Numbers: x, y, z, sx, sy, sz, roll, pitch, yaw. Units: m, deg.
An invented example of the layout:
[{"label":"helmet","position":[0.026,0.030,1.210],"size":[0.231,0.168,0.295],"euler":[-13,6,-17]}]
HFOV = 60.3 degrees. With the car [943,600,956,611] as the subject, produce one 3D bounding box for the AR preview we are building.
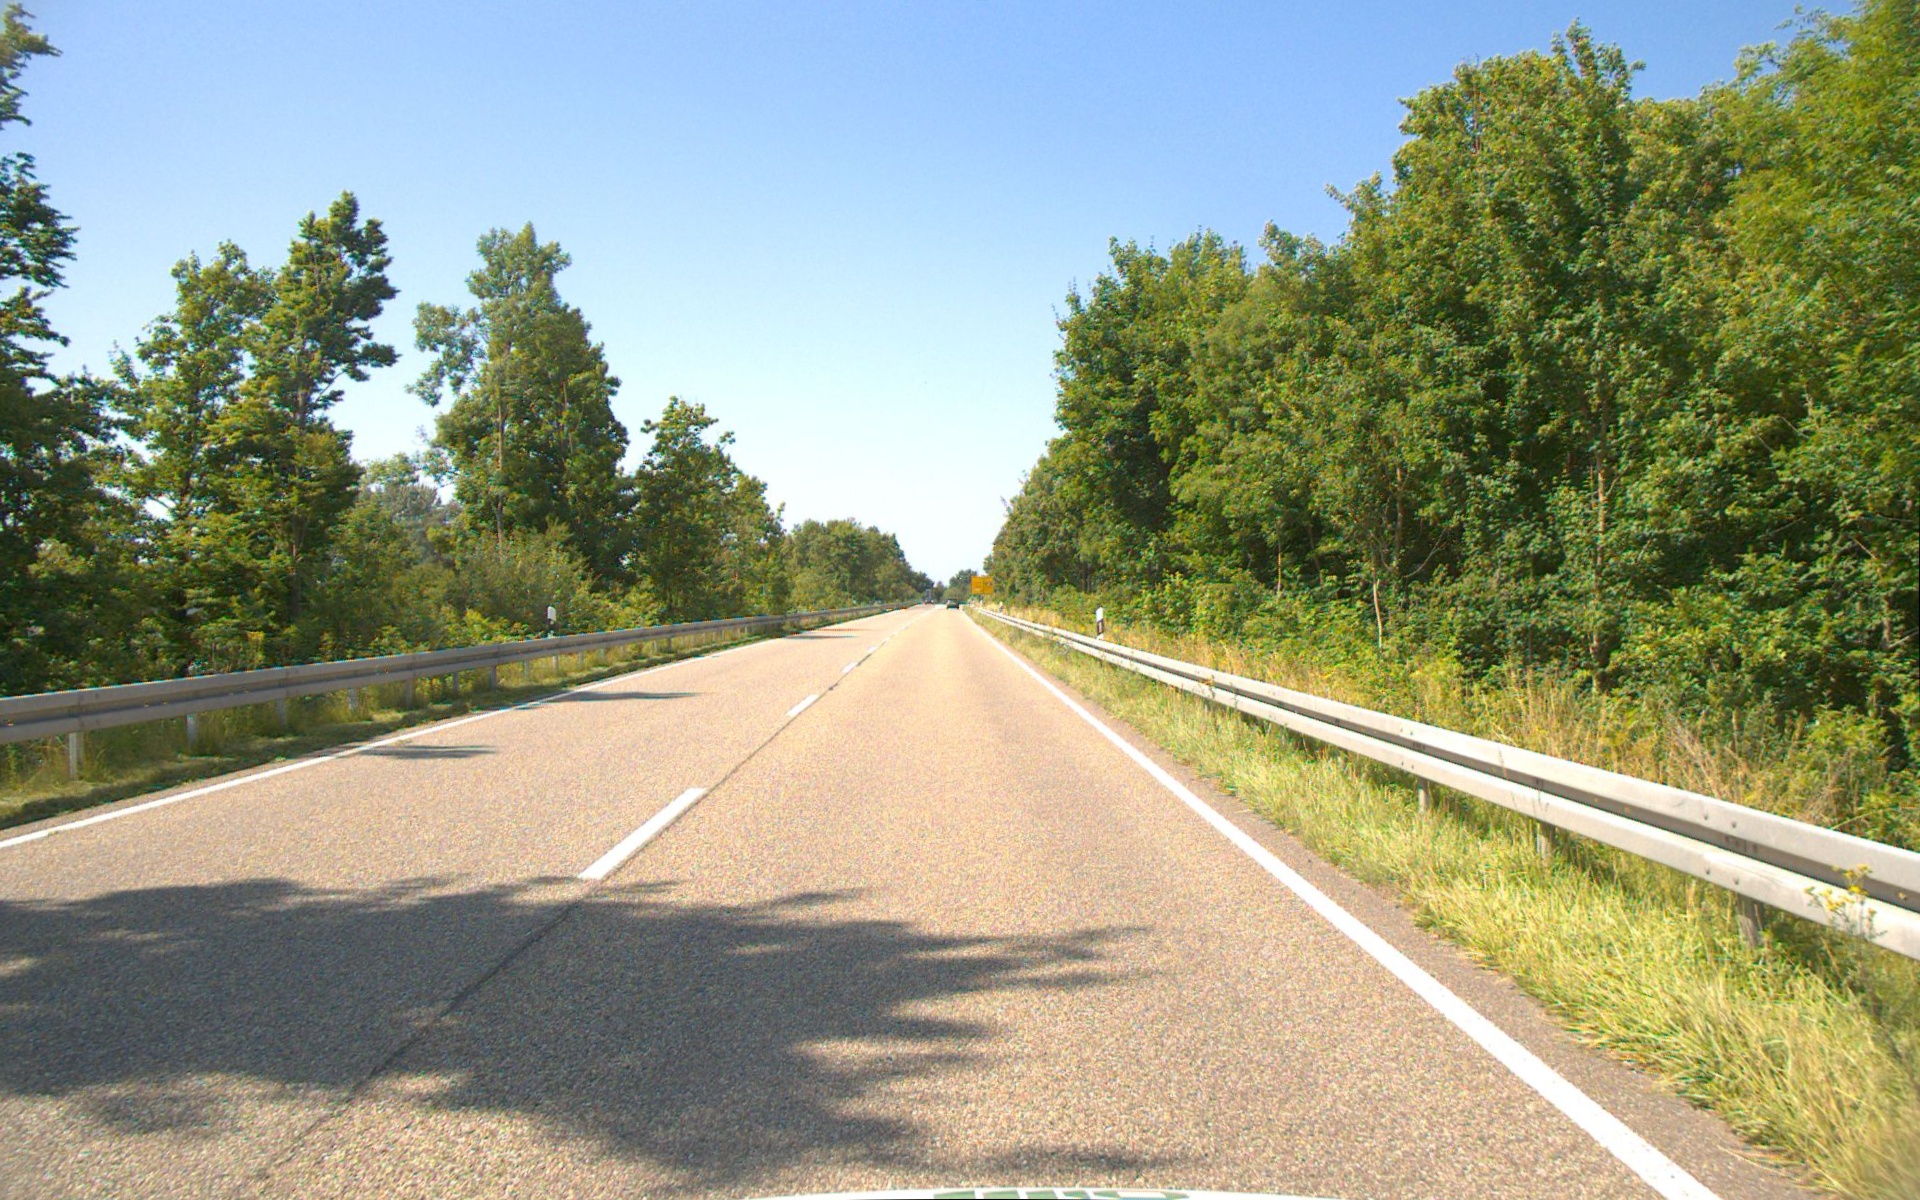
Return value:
[{"label":"car","position":[-1.415,0.733,225.403],"size":[1.705,1.496,3.693],"euler":[0,0,1]}]
